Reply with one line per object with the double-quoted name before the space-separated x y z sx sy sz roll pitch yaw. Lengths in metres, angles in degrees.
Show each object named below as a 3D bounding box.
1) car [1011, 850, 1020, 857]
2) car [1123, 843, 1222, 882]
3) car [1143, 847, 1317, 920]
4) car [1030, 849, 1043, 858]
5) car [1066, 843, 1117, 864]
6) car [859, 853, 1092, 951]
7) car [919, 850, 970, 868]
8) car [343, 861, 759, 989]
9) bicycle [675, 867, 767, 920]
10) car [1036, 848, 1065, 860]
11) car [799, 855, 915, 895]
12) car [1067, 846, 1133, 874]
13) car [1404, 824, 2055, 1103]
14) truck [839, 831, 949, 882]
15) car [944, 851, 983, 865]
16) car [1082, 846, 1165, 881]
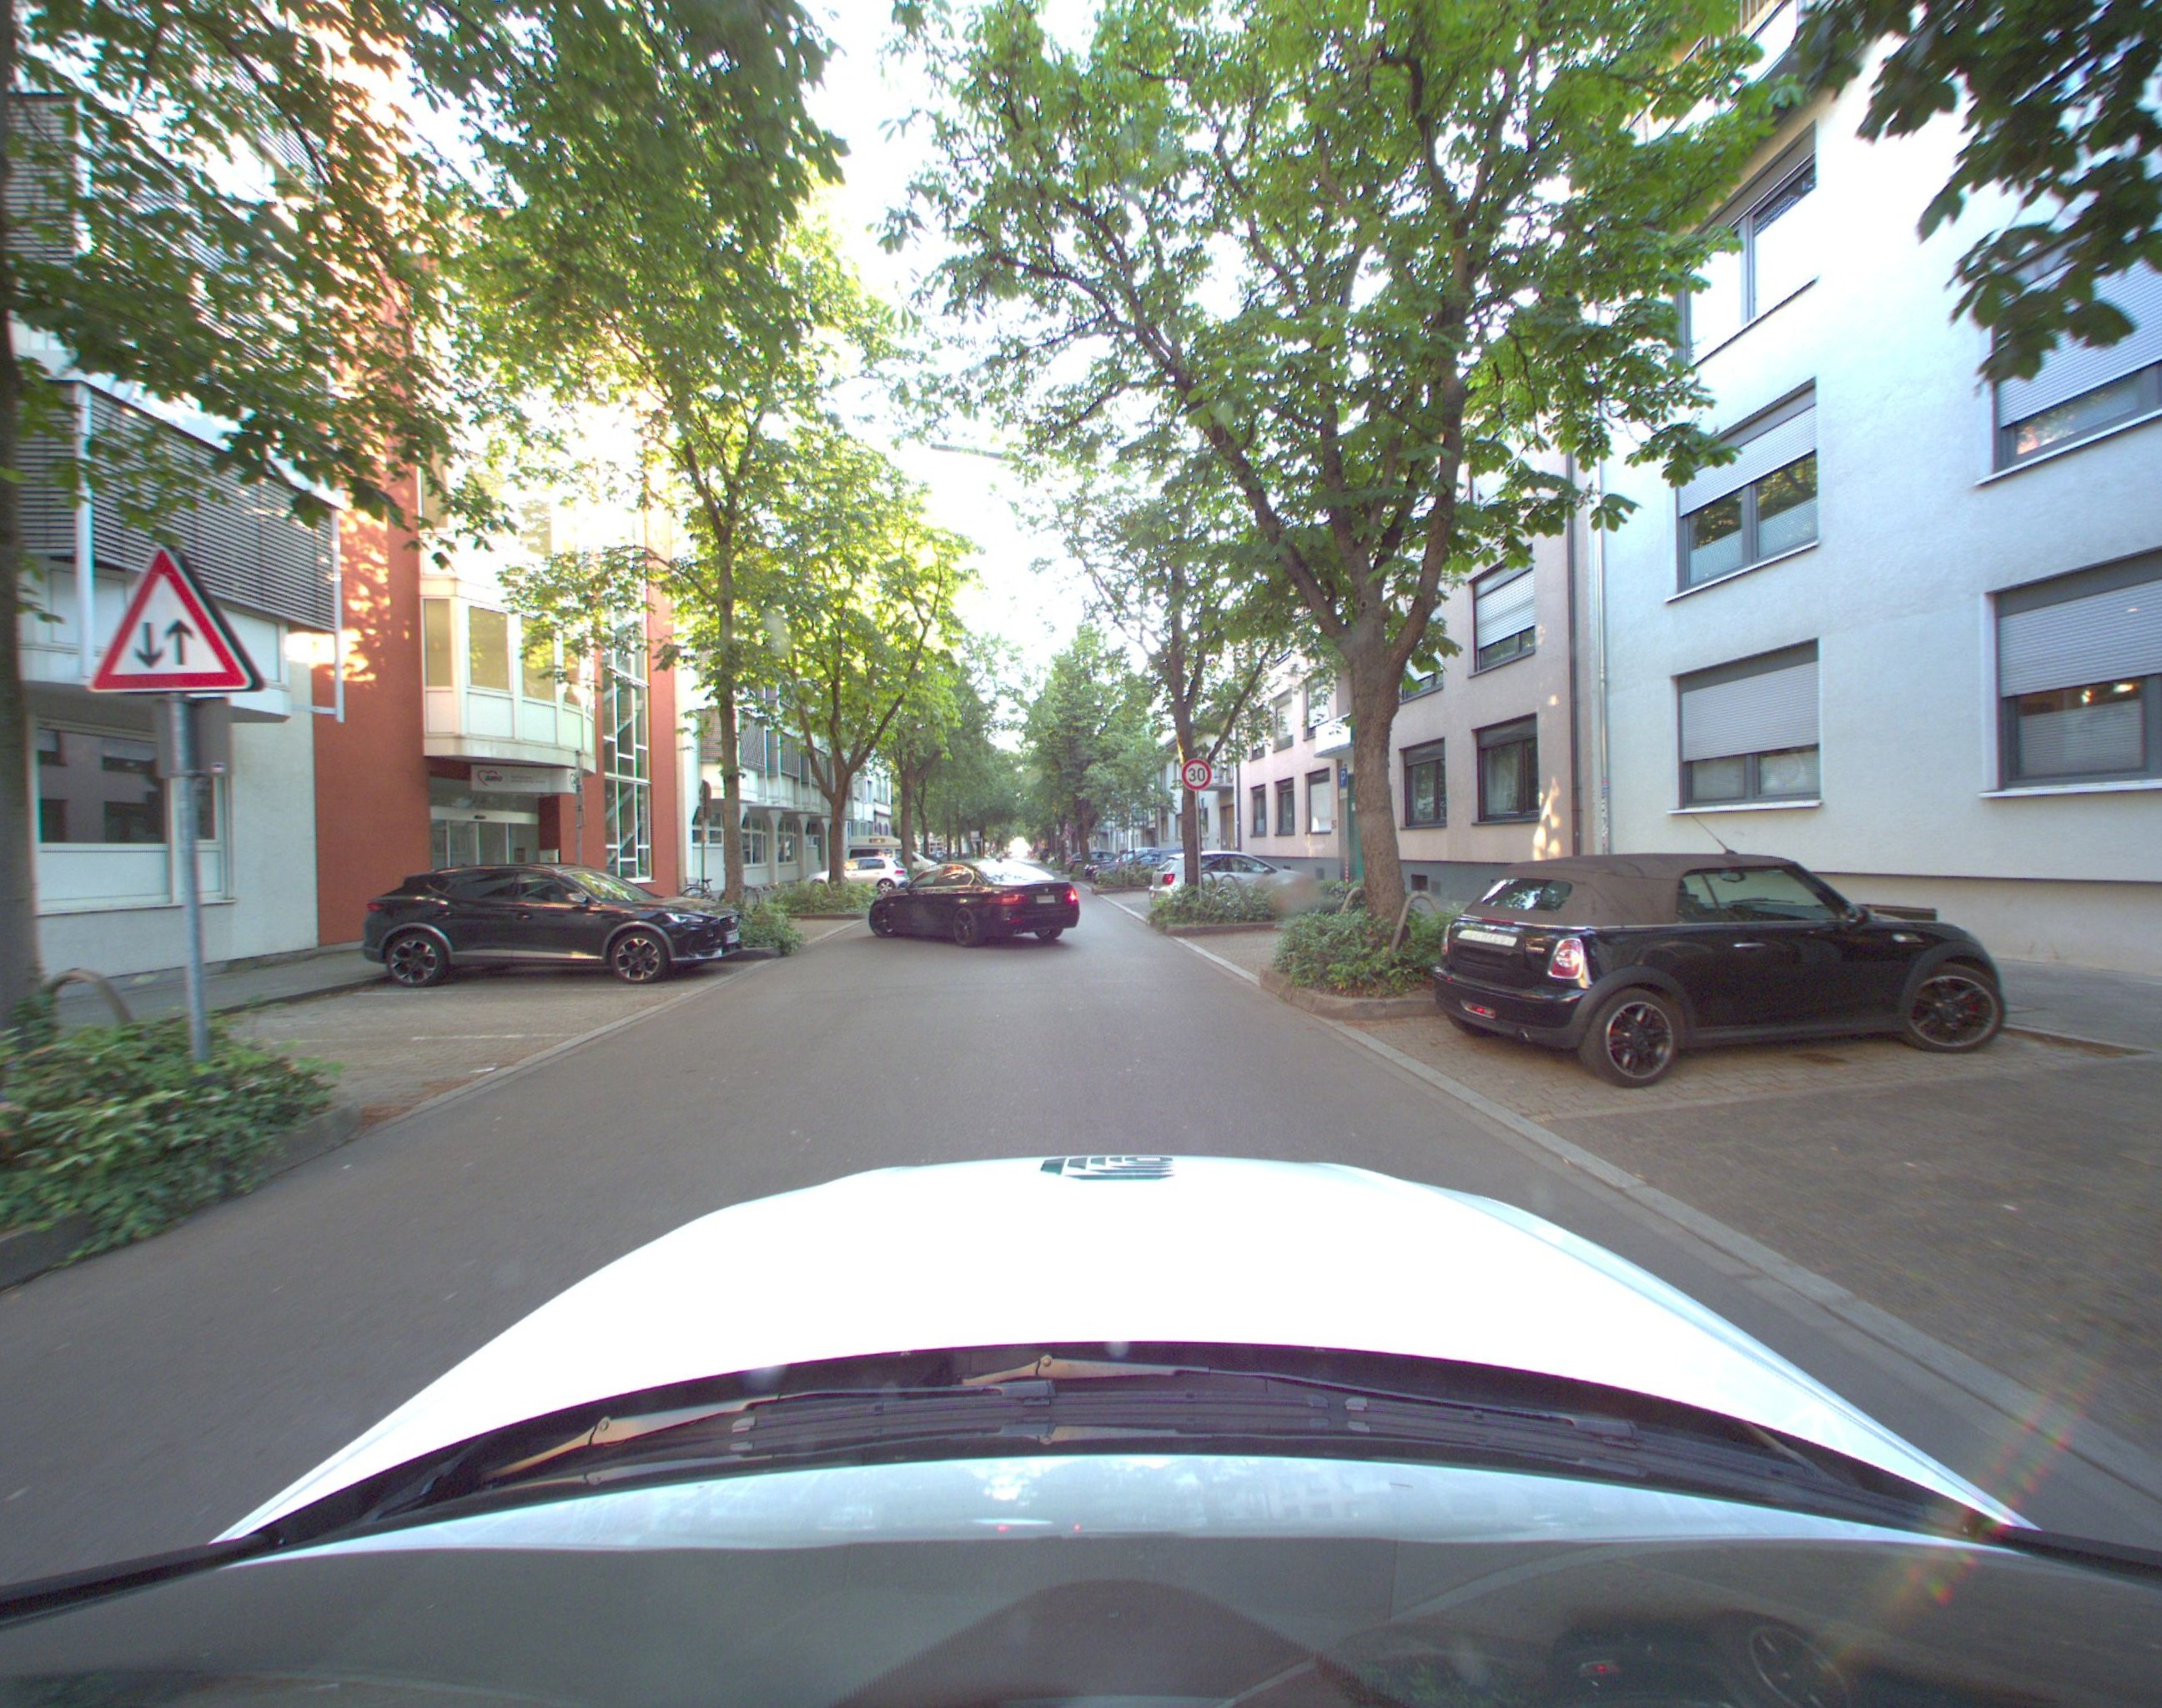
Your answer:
"car" -15.674 -0.165 194.476 1.891 1.475 3.995 -1 0 -3
"car" 3.637 0.336 32.608 3.653 1.393 1.562 -2 0 -7
"car" 3.390 0.634 18.865 3.653 1.479 1.562 -2 0 -7
"car" -7.379 -0.107 134.420 1.990 1.552 3.994 -1 0 -5
"car" 0.779 -0.041 61.069 3.653 1.393 1.562 -2 0 -7
"car" -2.050 0.749 14.617 1.778 1.450 4.611 -2 1 -43
"car" -11.355 0.427 67.804 4.014 1.471 1.637 0 0 -5
"car" -6.912 0.881 11.066 4.349 1.509 1.832 0 0 -5
"bicycle" -8.746 0.936 19.842 1.973 1.199 0.499 -1 0 -16
"car" -3.913 -0.037 103.827 3.652 1.393 1.562 -1 0 -7
"car" -8.684 0.797 31.835 4.125 1.471 1.637 0 0 -5
"car" 1.098 0.339 47.870 3.652 1.536 1.562 -1 0 -7
"car" 4.533 0.632 5.932 3.702 1.428 1.622 -4 1 -10
"truck" -9.105 0.098 40.041 4.989 2.440 1.914 0 1 -4
"car" -12.720 0.453 88.432 4.014 1.471 1.637 0 0 -5
"car" 2.013 0.433 39.098 3.788 1.530 1.562 -2 0 -7
